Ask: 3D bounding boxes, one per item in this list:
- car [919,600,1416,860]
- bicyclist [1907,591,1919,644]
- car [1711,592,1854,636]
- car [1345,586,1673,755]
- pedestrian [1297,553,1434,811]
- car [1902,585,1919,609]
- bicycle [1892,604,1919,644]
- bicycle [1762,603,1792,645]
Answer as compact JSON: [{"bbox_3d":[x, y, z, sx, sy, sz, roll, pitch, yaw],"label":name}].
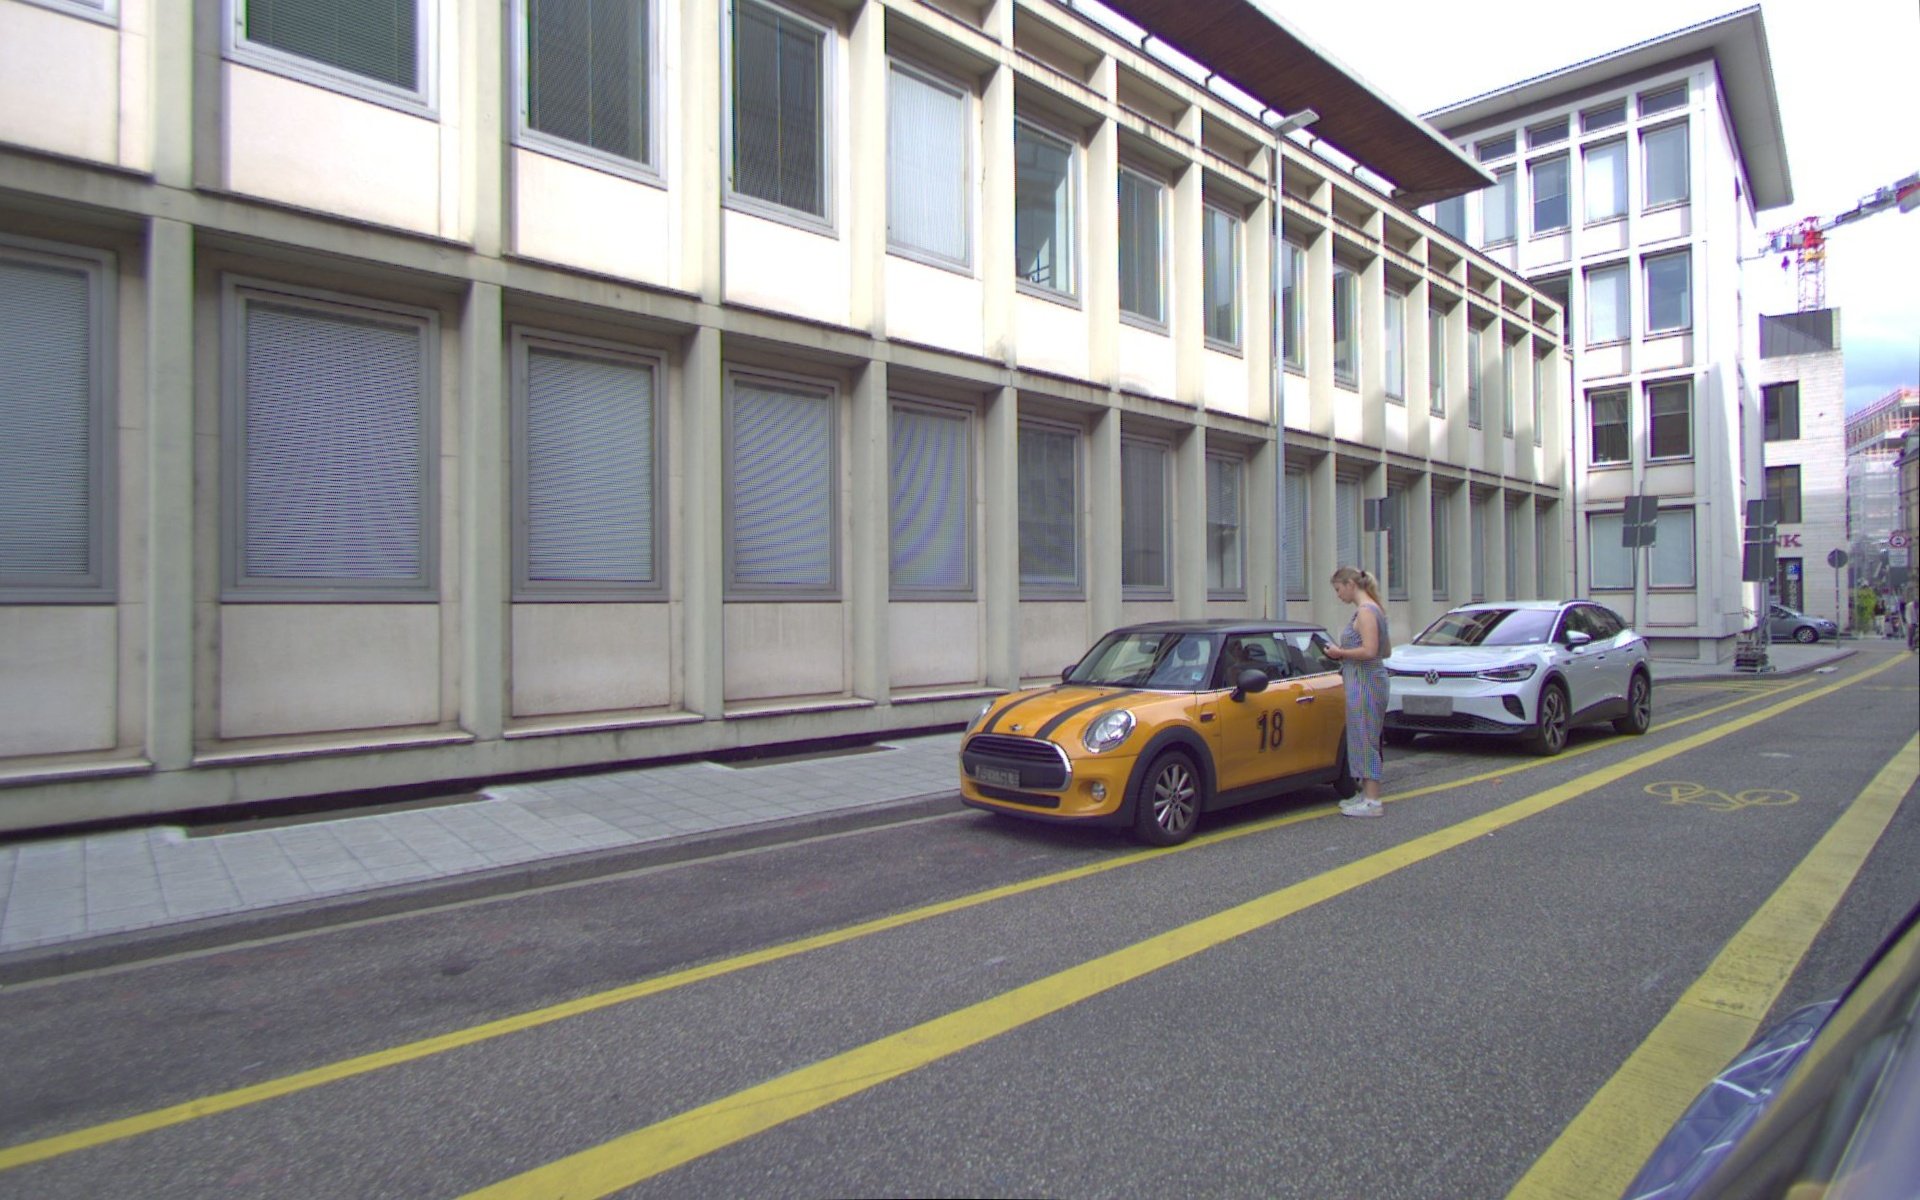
[{"bbox_3d":[1.725,0.780,7.730,3.818,1.453,1.683,-1,-2,-40],"label":"car"},{"bbox_3d":[29.875,0.524,31.051,0.881,1.614,0.872,-1,0,18],"label":"bicyclist"},{"bbox_3d":[32.110,0.530,39.600,1.786,1.610,4.184,-1,0,-45],"label":"car"},{"bbox_3d":[6.547,0.700,11.863,4.432,1.626,1.863,0,-2,-40],"label":"car"},{"bbox_3d":[3.006,0.563,7.506,0.694,1.786,0.699,0,0,-42],"label":"pedestrian"},{"bbox_3d":[61.353,-0.216,64.411,1.580,1.505,3.947,-1,0,37],"label":"car"},{"bbox_3d":[29.849,0.753,30.913,0.859,1.209,2.848,-1,0,18],"label":"bicycle"},{"bbox_3d":[24.320,0.698,30.121,0.588,1.182,1.787,-1,0,42],"label":"bicycle"}]
